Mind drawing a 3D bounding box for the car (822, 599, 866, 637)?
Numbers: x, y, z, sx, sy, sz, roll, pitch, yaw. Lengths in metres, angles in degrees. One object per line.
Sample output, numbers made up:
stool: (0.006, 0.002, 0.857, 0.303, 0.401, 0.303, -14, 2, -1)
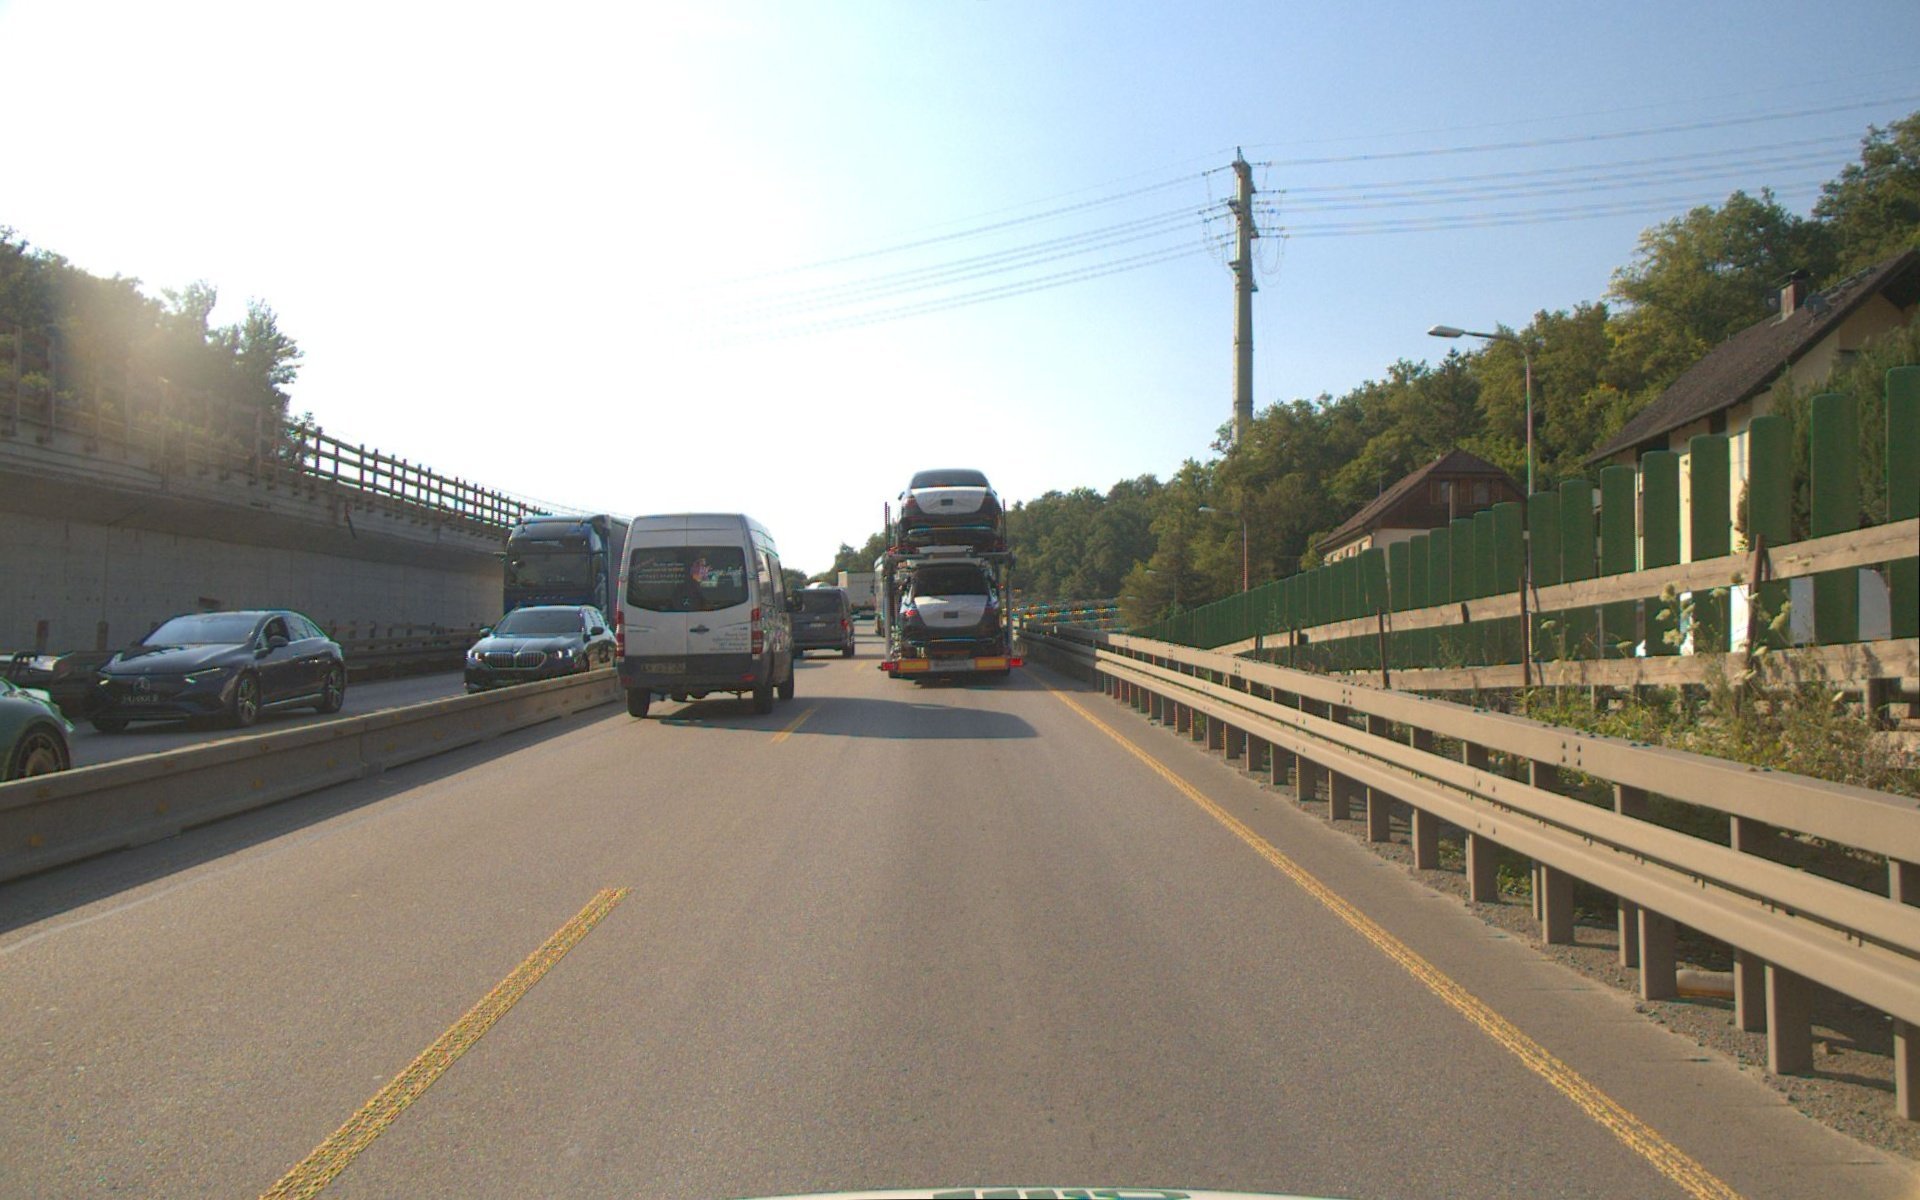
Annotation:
car: (-5.018, 0.772, 71.966, 1.690, 1.549, 3.972, 2, -1, -1)

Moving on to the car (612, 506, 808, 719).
car: (-3.436, 0.183, 23.812, 1.953, 2.694, 5.530, 1, -1, 0)

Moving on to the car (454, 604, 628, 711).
car: (-7.082, 0.958, 28.468, 1.800, 1.621, 4.866, 2, -1, -2)

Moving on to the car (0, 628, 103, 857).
car: (-6.547, 0.840, 8.879, 1.745, 1.348, 4.238, 0, -1, -1)

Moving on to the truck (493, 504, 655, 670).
truck: (-10.752, -0.298, 47.084, 2.571, 4.184, 9.623, -1, 0, -2)

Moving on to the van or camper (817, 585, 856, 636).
van or camper: (-6.734, 0.588, 90.633, 1.929, 2.637, 5.038, 2, -2, -3)

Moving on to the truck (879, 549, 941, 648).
truck: (-2.582, -0.035, 83.245, 2.849, 4.687, 7.281, 1, -1, -3)

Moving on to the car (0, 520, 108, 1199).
car: (-2.899, 0.649, 1.878, 1.646, 1.616, 4.271, -1, 0, 0)

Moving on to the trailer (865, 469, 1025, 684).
trailer: (-0.217, -0.227, 35.888, 2.628, 3.597, 15.286, 2, -1, 0)

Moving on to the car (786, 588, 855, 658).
car: (-4.107, 0.706, 49.189, 1.772, 1.937, 3.998, 2, -2, -2)

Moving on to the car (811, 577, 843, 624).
car: (-15.126, 0.077, 187.716, 3.378, 5.123, 9.642, 2, -1, -5)

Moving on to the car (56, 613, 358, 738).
car: (-9.930, 0.927, 22.316, 1.932, 1.446, 4.898, -2, 0, -2)

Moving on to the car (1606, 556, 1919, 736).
car: (9.566, 0.573, 19.936, 1.770, 1.903, 4.438, 1, -2, -1)

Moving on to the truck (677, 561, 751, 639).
truck: (-14.706, 0.084, 99.941, 2.923, 4.226, 15.842, 2, -1, -4)

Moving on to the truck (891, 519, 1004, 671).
truck: (-0.302, -0.037, 43.460, 2.628, 3.597, 7.192, 2, -1, 0)

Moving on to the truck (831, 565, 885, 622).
truck: (-8.985, -0.471, 144.665, 3.988, 4.761, 10.573, 1, -1, -7)
